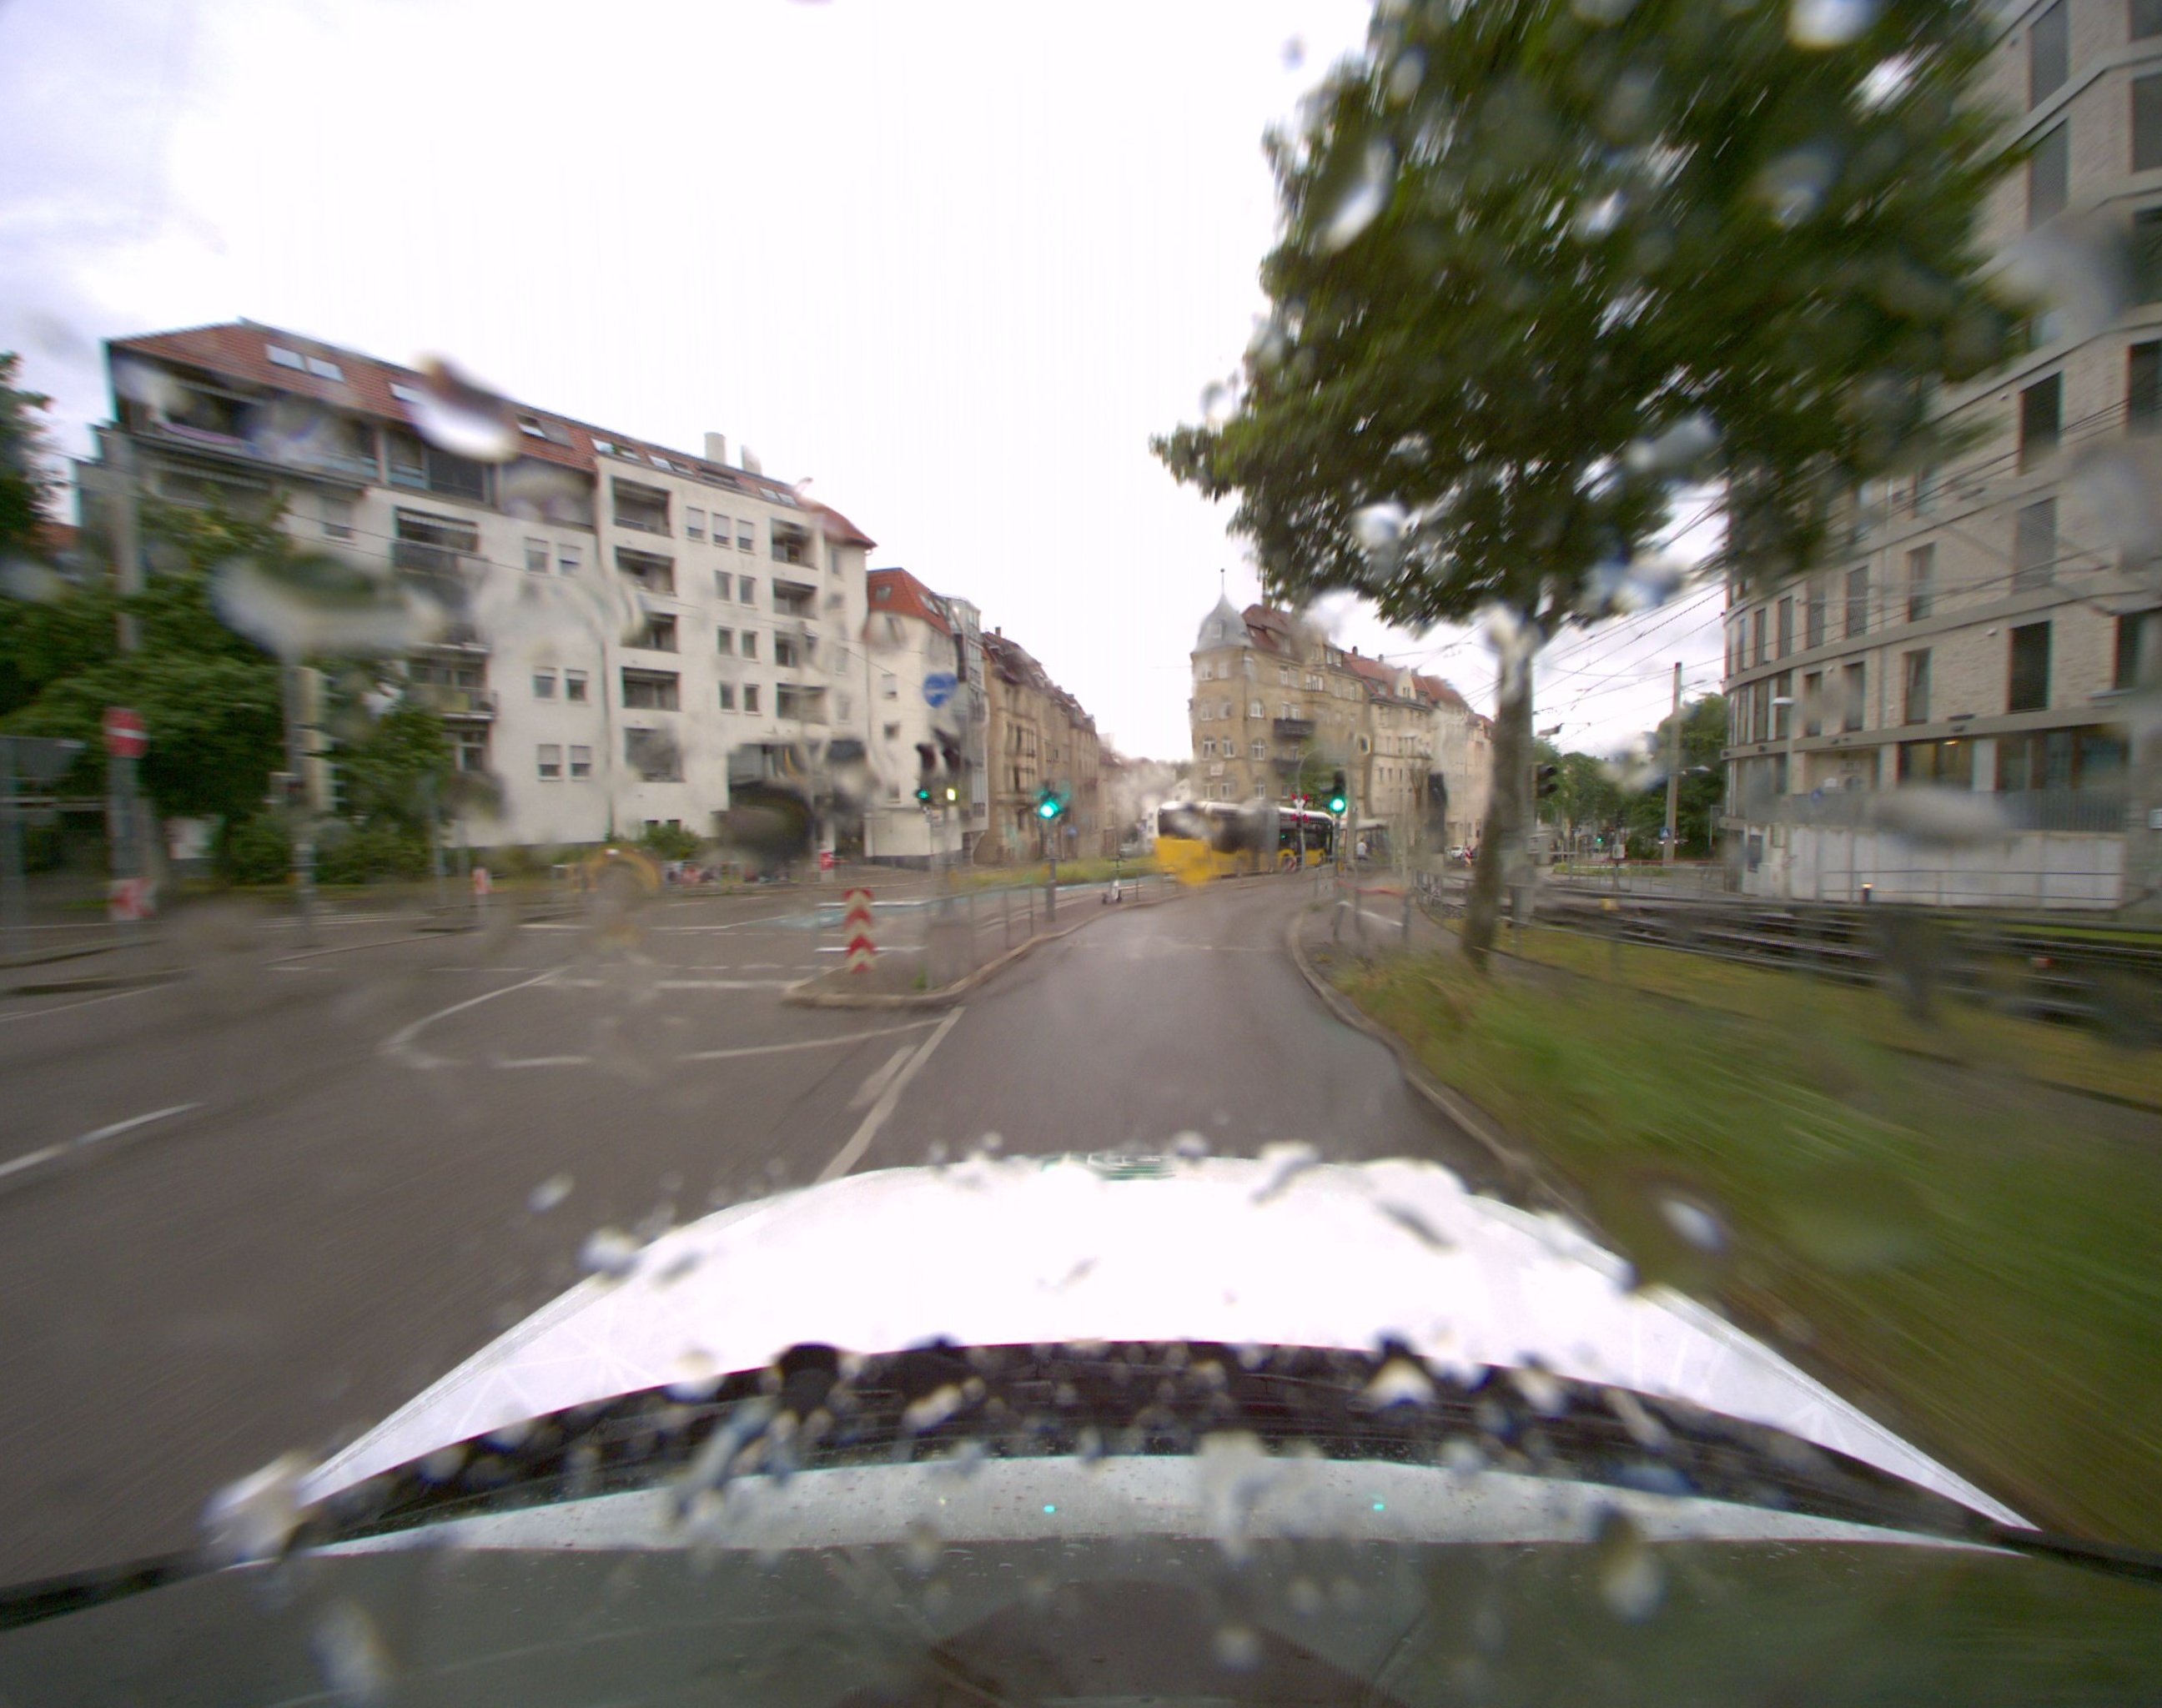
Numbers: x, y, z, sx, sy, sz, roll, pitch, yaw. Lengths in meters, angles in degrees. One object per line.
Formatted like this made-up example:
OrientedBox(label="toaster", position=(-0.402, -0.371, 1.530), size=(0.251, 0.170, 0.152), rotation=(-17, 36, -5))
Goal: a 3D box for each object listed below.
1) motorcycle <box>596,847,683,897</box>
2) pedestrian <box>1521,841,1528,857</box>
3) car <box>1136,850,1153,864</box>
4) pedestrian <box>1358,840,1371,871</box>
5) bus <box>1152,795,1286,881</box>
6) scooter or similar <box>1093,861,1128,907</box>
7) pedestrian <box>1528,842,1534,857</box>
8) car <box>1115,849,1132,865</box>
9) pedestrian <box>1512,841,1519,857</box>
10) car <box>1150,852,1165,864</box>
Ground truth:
OrientedBox(label="motorcycle", position=(-14.638, 0.571, 27.108), size=(0.690, 1.550, 2.456), rotation=(3, 2, 34))
OrientedBox(label="pedestrian", position=(53.334, -0.573, 97.978), size=(0.511, 1.838, 0.767), rotation=(-2, -2, 41))
OrientedBox(label="car", position=(10.337, 0.470, 132.267), size=(2.123, 2.137, 4.874), rotation=(-1, -1, 13))
OrientedBox(label="pedestrian", position=(15.832, 0.095, 45.445), size=(0.570, 1.752, 0.547), rotation=(-1, -1, 31))
OrientedBox(label="bus", position=(6.567, -0.625, 37.215), size=(2.565, 3.469, 9.165), rotation=(-1, -1, 33))
OrientedBox(label="scooter or similar", position=(0.764, 0.743, 20.725), size=(0.430, 1.113, 1.612), rotation=(1, 0, 18))
OrientedBox(label="pedestrian", position=(55.651, -0.549, 100.685), size=(0.511, 1.838, 0.767), rotation=(-2, -2, 41))
OrientedBox(label="car", position=(5.691, 0.377, 109.981), size=(2.130, 2.137, 4.857), rotation=(0, -1, 1))
OrientedBox(label="pedestrian", position=(50.268, -0.578, 94.139), size=(0.555, 1.850, 0.602), rotation=(-2, -2, 41))
OrientedBox(label="car", position=(13.774, 0.773, 146.506), size=(2.123, 2.137, 4.874), rotation=(-1, -1, 13))
